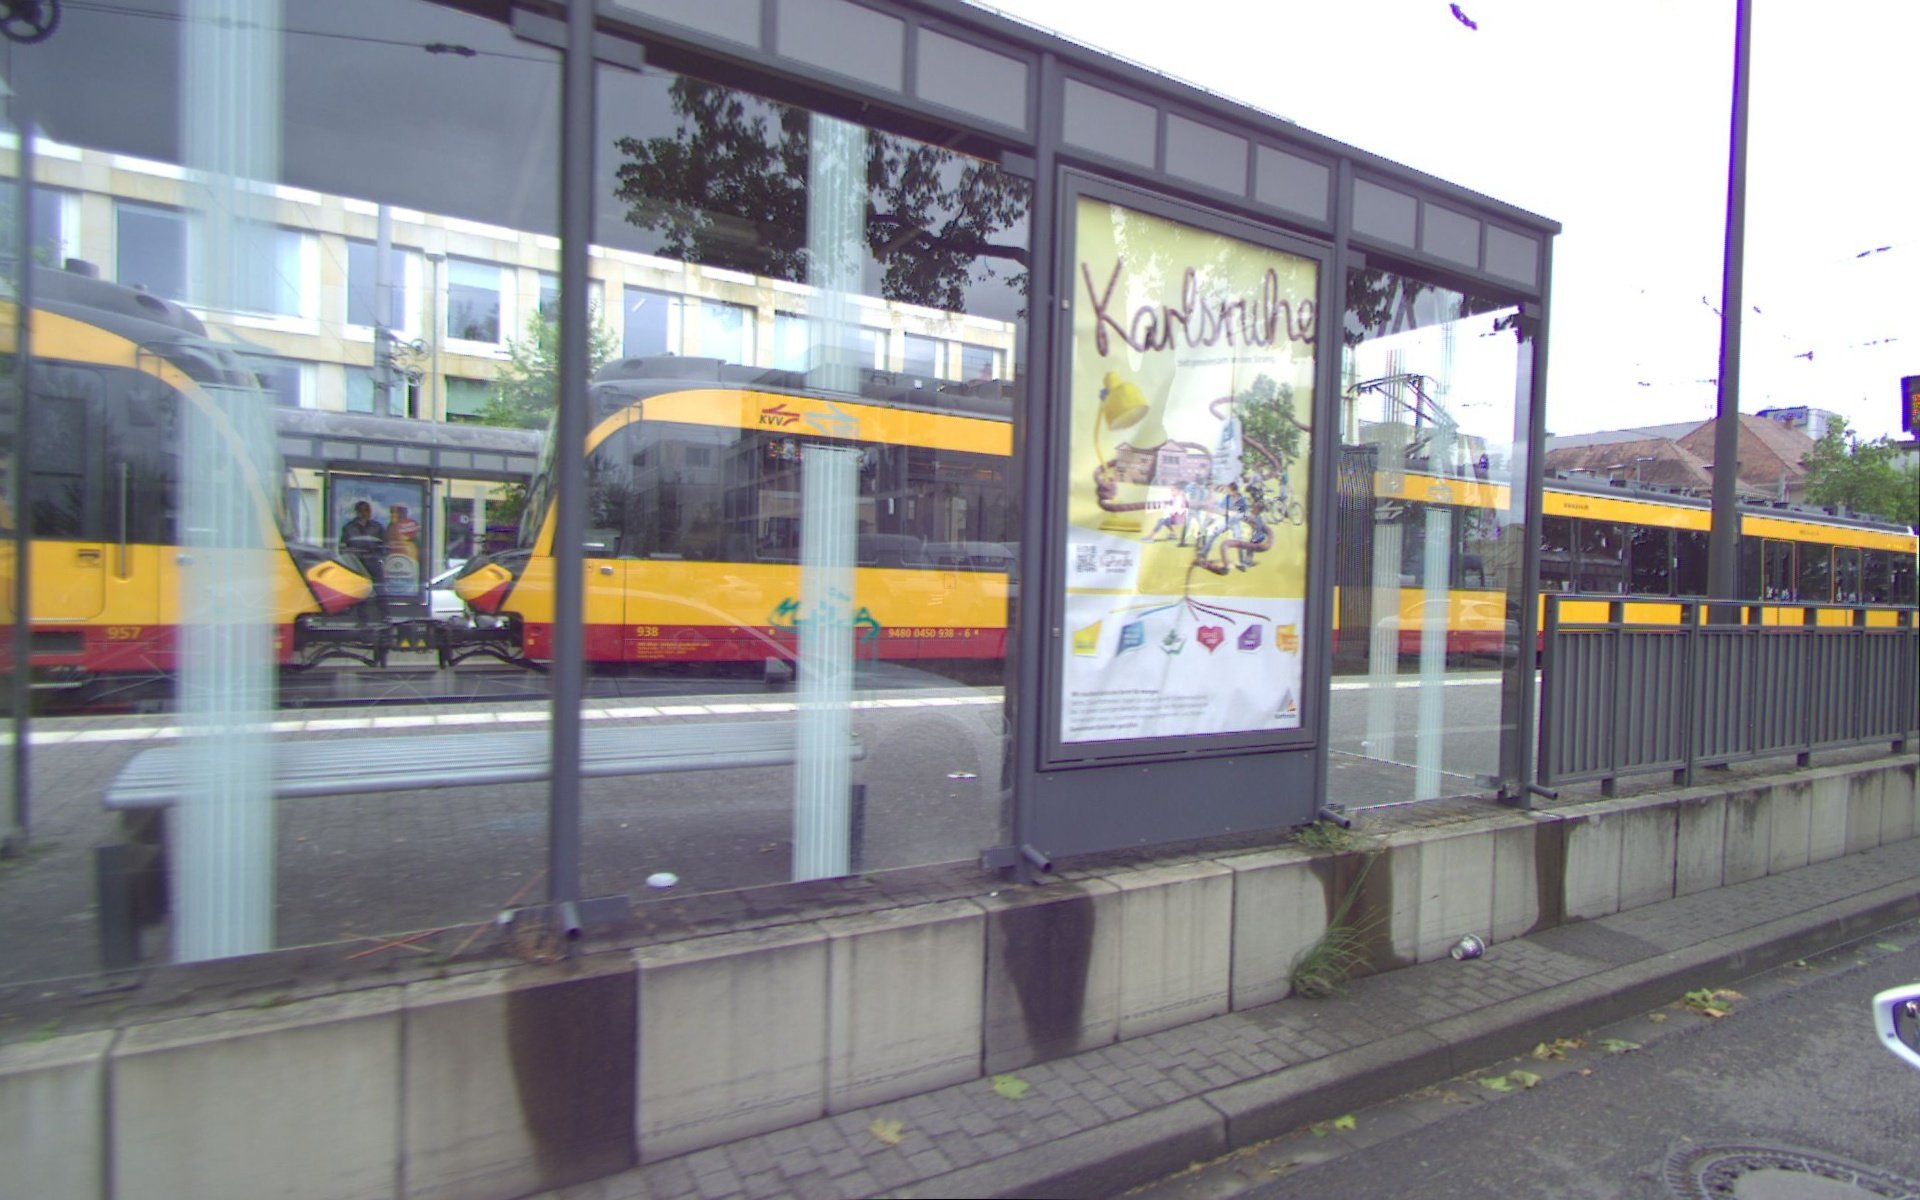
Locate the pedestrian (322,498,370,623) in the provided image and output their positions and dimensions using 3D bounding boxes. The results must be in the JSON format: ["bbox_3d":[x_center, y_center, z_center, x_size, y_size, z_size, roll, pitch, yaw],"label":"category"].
[{"bbox_3d":[-8.569,-0.541,14.040,0.504,1.693,0.581,2,1,-28],"label":"pedestrian"}]

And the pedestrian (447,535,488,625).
[{"bbox_3d":[-7.393,-0.294,15.083,0.504,1.318,0.581,2,1,-28],"label":"pedestrian"}]

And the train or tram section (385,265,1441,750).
[{"bbox_3d":[0.561,-0.632,13.816,14.560,4.234,3.165,2,1,-30],"label":"train or tram section"}]

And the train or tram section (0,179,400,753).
[{"bbox_3d":[-11.498,-1.133,6.706,13.459,4.234,3.165,2,1,-30],"label":"train or tram section"}]

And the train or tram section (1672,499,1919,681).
[{"bbox_3d":[25.683,-0.058,28.443,14.560,4.234,3.165,2,1,-30],"label":"train or tram section"}]

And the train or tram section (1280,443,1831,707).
[{"bbox_3d":[13.126,-0.228,21.109,14.560,4.234,3.165,2,1,-30],"label":"train or tram section"}]
